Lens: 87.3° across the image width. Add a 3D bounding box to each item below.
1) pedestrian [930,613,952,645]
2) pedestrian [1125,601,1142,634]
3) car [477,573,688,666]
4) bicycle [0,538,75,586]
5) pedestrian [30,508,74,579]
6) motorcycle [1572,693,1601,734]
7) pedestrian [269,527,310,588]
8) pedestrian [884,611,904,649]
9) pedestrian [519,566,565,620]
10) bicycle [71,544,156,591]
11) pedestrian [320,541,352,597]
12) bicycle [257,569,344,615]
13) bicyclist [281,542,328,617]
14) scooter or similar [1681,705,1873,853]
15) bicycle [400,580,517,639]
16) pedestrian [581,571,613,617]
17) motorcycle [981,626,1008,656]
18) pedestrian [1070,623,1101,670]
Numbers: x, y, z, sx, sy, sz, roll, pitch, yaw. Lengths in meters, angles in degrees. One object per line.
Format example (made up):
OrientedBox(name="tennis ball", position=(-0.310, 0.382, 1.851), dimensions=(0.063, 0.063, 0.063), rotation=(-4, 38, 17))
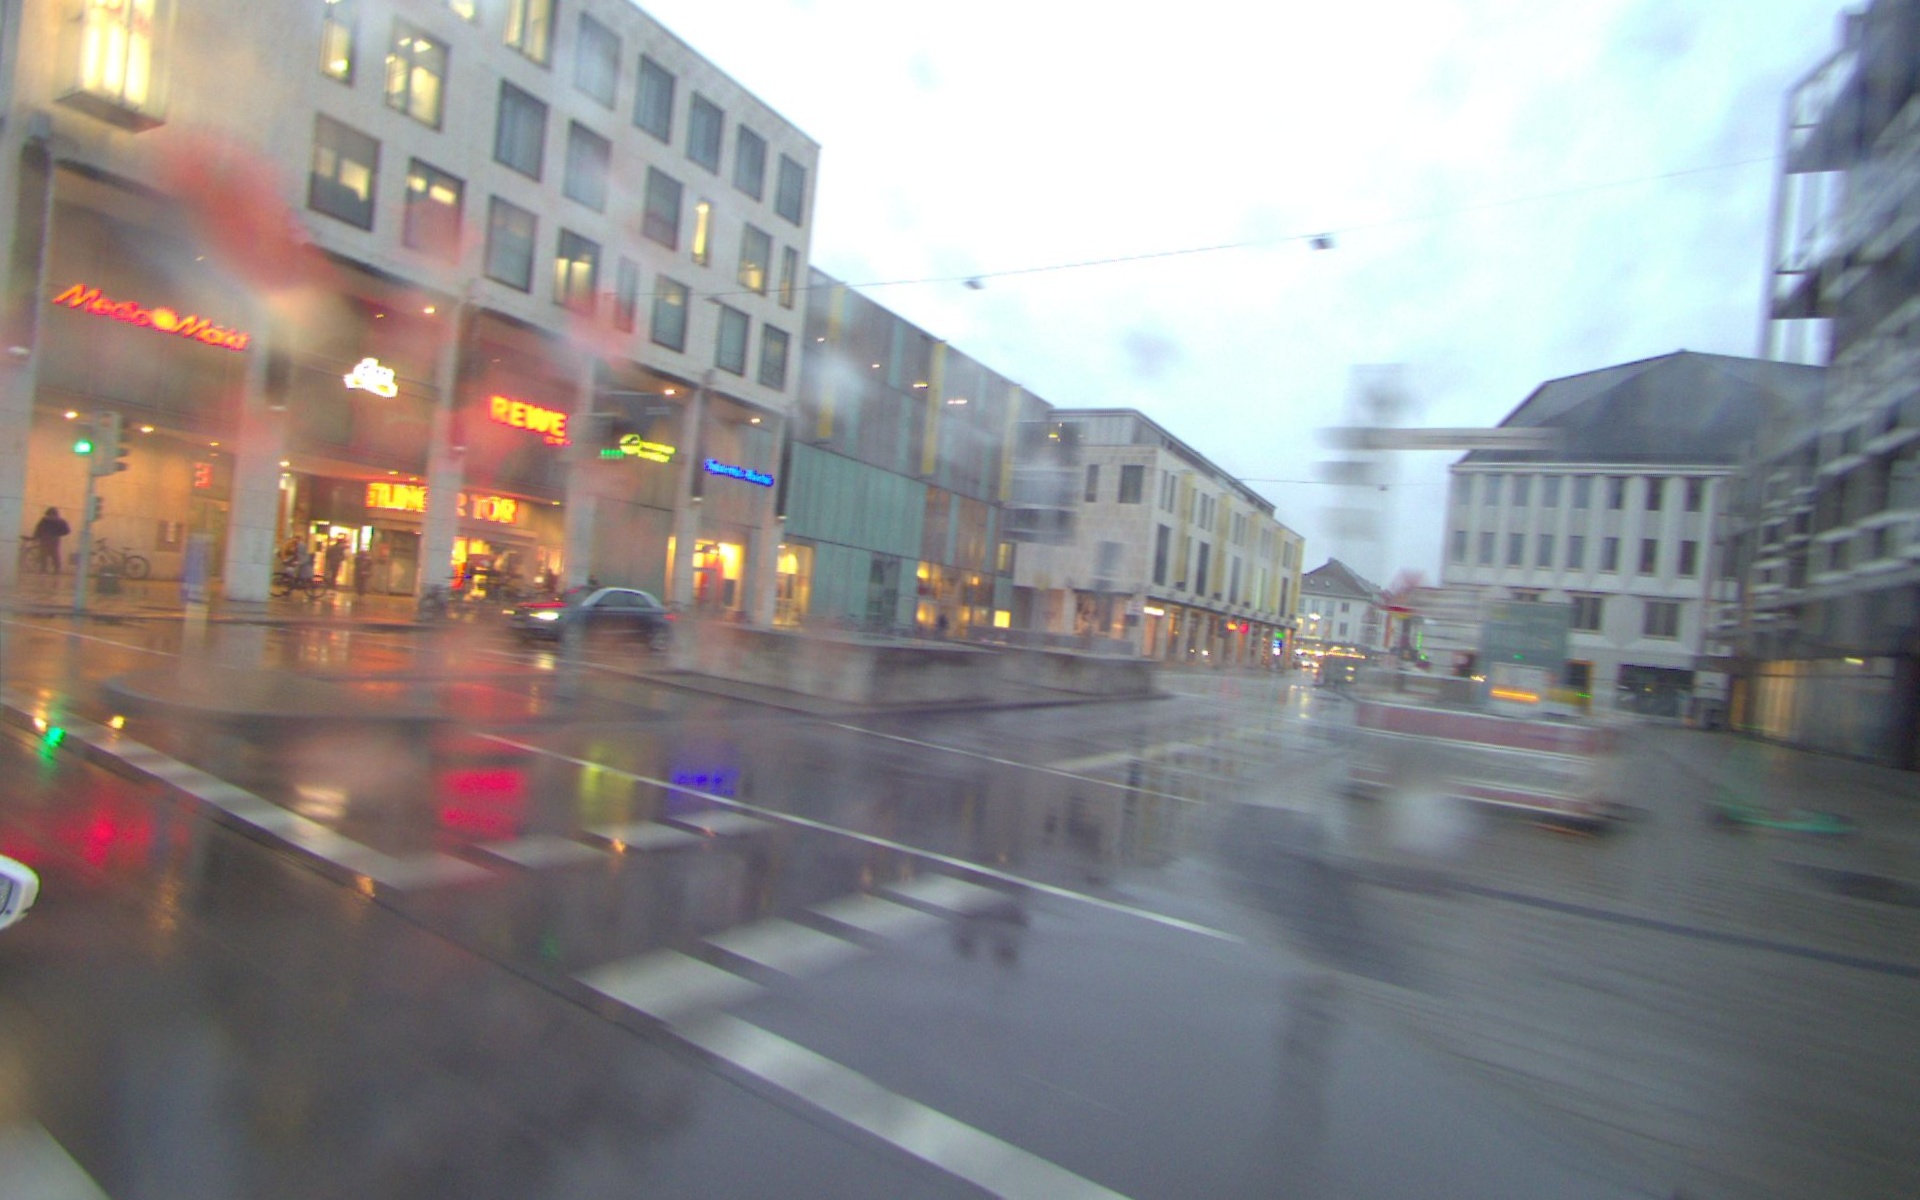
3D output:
OrientedBox(name="pedestrian", position=(-1.047, 1.621, 56.017), dimensions=(0.769, 1.703, 0.742), rotation=(5, -2, 35))
OrientedBox(name="pedestrian", position=(9.510, 0.966, 55.231), dimensions=(0.572, 1.703, 0.543), rotation=(5, -2, 35))
OrientedBox(name="car", position=(-8.469, 0.498, 22.895), dimensions=(1.967, 1.636, 3.994), rotation=(5, -3, 32))
OrientedBox(name="bicycle", position=(-24.371, -1.004, 26.276), dimensions=(0.515, 1.082, 1.774), rotation=(6, -2, 21))
OrientedBox(name="pedestrian", position=(-23.513, -1.464, 26.059), dimensions=(0.517, 1.765, 0.600), rotation=(5, -2, 37))
OrientedBox(name="motorcycle", position=(22.365, 4.040, 35.932), dimensions=(0.584, 1.368, 1.494), rotation=(6, -2, 26))
OrientedBox(name="pedestrian", position=(-23.387, -1.479, 35.085), dimensions=(0.688, 2.038, 0.846), rotation=(6, 0, 38))
OrientedBox(name="pedestrian", position=(-3.105, 1.419, 47.513), dimensions=(0.572, 1.703, 0.543), rotation=(5, -2, 35))
OrientedBox(name="pedestrian", position=(-14.489, -0.234, 34.852), dimensions=(0.810, 1.703, 1.032), rotation=(6, -2, 29))
OrientedBox(name="bicycle", position=(-23.518, -0.893, 27.972), dimensions=(0.515, 1.082, 1.652), rotation=(6, -2, 25))
OrientedBox(name="pedestrian", position=(-20.425, -1.006, 32.925), dimensions=(0.730, 1.739, 0.732), rotation=(5, 0, -33))
OrientedBox(name="bicycle", position=(-19.135, -0.235, 29.205), dimensions=(1.952, 1.099, 0.916), rotation=(7, -1, -40))
OrientedBox(name="bicyclist", position=(-19.064, -0.601, 29.236), dimensions=(0.917, 2.038, 0.898), rotation=(6, 0, -38))
OrientedBox(name="scooter or similar", position=(9.097, 1.962, 11.272), dimensions=(1.469, 1.368, 0.594), rotation=(6, -1, 29))
OrientedBox(name="bicycle", position=(-13.339, 0.286, 26.883), dimensions=(0.941, 1.375, 2.719), rotation=(5, -1, 26))
OrientedBox(name="pedestrian", position=(-14.102, -0.233, 39.084), dimensions=(0.519, 1.705, 0.895), rotation=(5, 0, 29))
OrientedBox(name="motorcycle", position=(1.789, 2.133, 51.975), dimensions=(0.585, 1.368, 1.492), rotation=(6, -2, 33))
OrientedBox(name="pedestrian", position=(4.854, 1.818, 38.925), dimensions=(0.769, 1.703, 0.742), rotation=(5, -2, 35))
